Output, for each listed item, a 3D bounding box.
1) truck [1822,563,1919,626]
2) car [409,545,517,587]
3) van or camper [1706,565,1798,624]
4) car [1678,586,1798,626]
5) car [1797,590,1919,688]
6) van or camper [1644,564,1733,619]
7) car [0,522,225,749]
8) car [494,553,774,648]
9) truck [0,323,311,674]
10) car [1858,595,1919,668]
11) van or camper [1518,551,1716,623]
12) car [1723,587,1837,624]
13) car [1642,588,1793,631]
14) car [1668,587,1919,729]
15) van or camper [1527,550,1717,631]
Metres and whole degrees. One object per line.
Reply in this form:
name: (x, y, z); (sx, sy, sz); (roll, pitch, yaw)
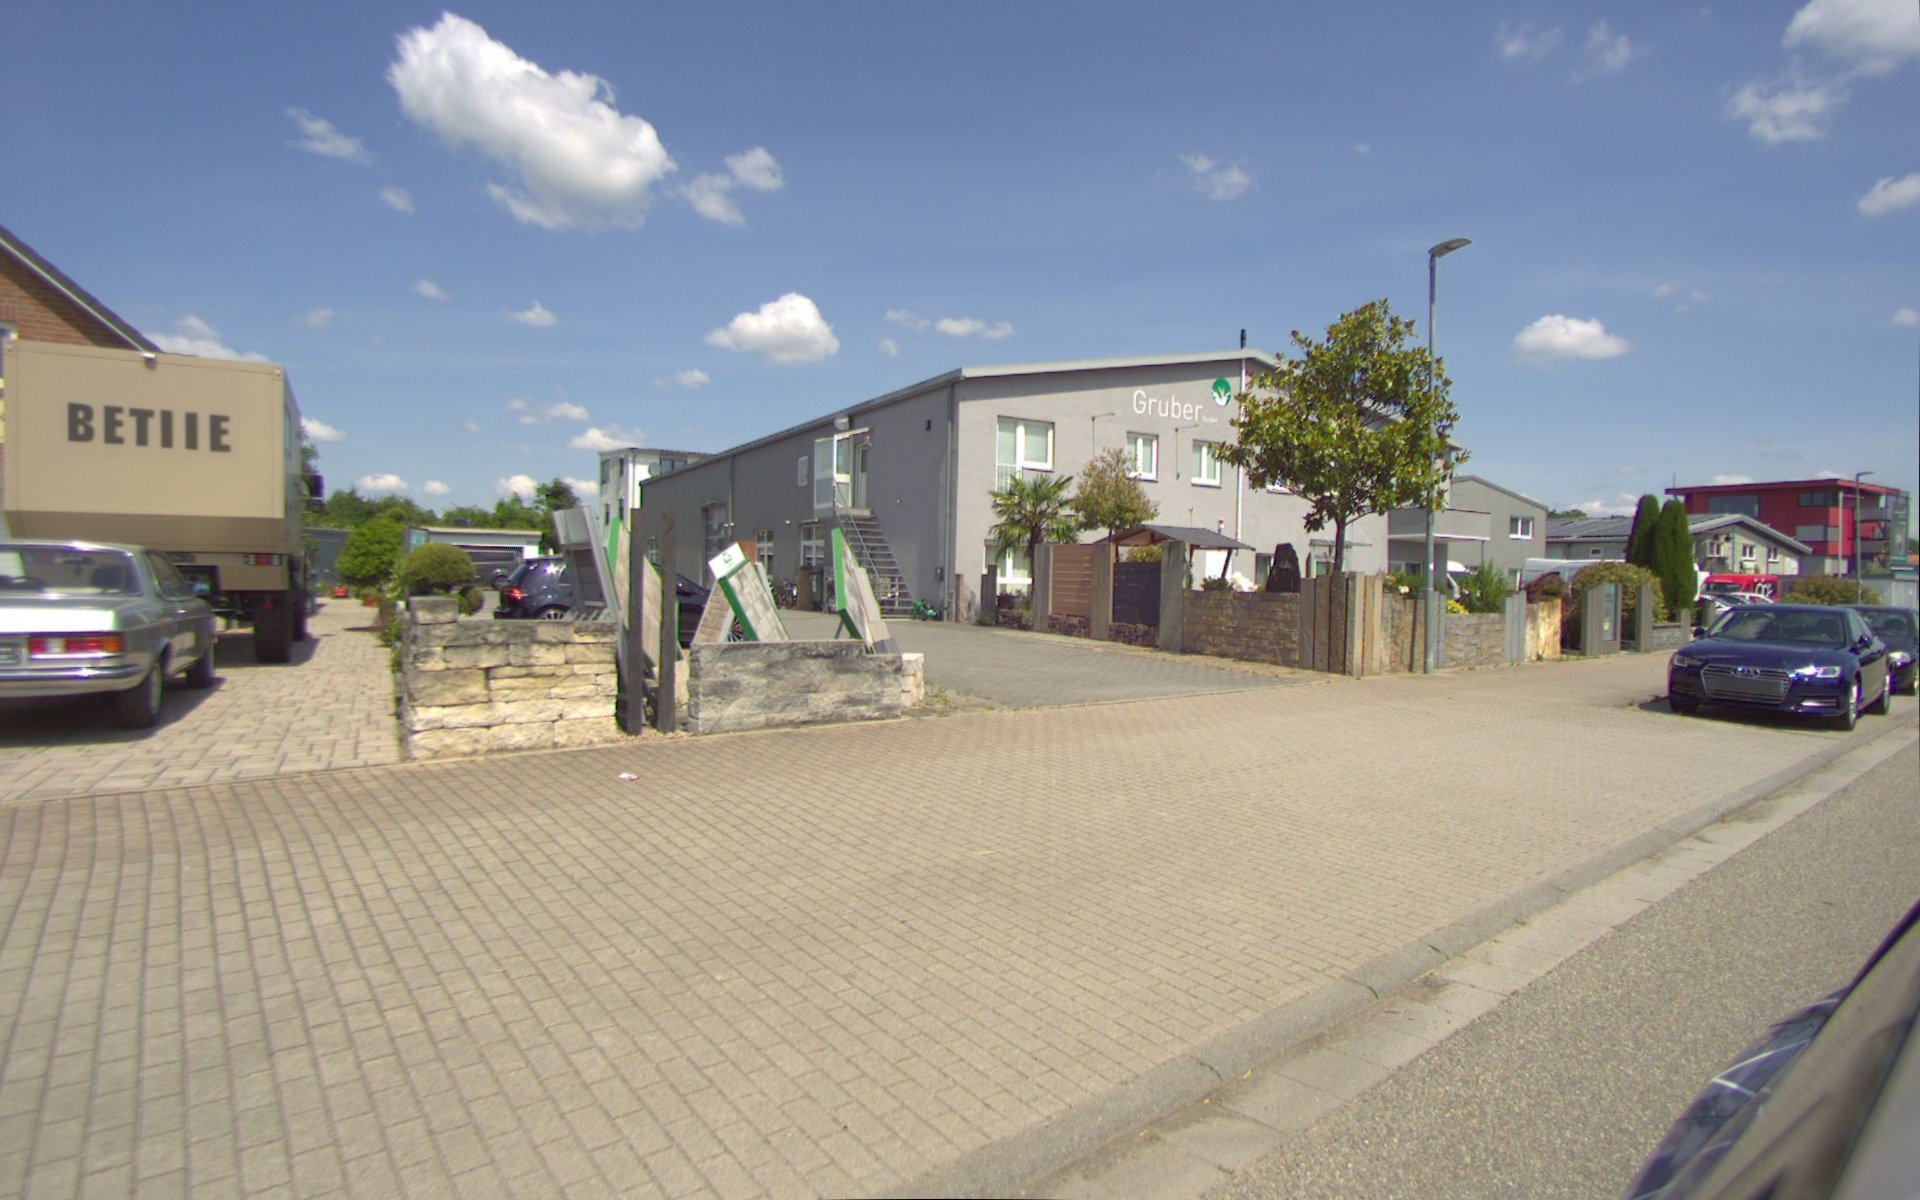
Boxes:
truck: (42.420, -0.238, 46.620); (5.669, 2.722, 2.388); (1, 2, -32)
car: (-24.455, -1.655, 49.814); (4.606, 1.924, 1.790); (1, 2, -31)
van or camper: (39.943, -0.280, 51.010); (4.800, 2.802, 2.043); (1, 2, -32)
car: (32.762, 0.231, 42.709); (1.683, 1.505, 3.703); (0, 2, -39)
car: (16.173, 0.615, 17.760); (3.807, 1.490, 1.618); (0, 3, -41)
van or camper: (39.016, -0.436, 54.191); (4.800, 2.802, 2.101); (1, 2, -32)
car: (-7.357, 0.147, 8.121); (1.937, 1.437, 4.287); (1, 2, -31)
car: (-5.120, -0.007, 15.968); (3.921, 1.340, 1.791); (1, 2, -29)
truck: (-10.344, -1.102, 13.122); (3.045, 3.430, 6.490); (1, 2, -31)
car: (21.011, 0.666, 22.013); (4.121, 1.441, 1.618); (0, 3, -41)
van or camper: (24.341, -0.558, 37.788); (2.091, 2.468, 5.850); (1, 2, -29)
car: (36.905, 0.217, 45.625); (1.683, 1.505, 3.703); (0, 2, -39)
car: (30.605, 0.355, 41.035); (1.683, 1.505, 4.606); (0, 2, -39)
car: (11.047, 0.631, 13.265); (4.635, 1.490, 1.766); (0, 3, -41)
van or camper: (22.549, -0.400, 34.763); (1.959, 2.565, 5.118); (1, 2, -26)
